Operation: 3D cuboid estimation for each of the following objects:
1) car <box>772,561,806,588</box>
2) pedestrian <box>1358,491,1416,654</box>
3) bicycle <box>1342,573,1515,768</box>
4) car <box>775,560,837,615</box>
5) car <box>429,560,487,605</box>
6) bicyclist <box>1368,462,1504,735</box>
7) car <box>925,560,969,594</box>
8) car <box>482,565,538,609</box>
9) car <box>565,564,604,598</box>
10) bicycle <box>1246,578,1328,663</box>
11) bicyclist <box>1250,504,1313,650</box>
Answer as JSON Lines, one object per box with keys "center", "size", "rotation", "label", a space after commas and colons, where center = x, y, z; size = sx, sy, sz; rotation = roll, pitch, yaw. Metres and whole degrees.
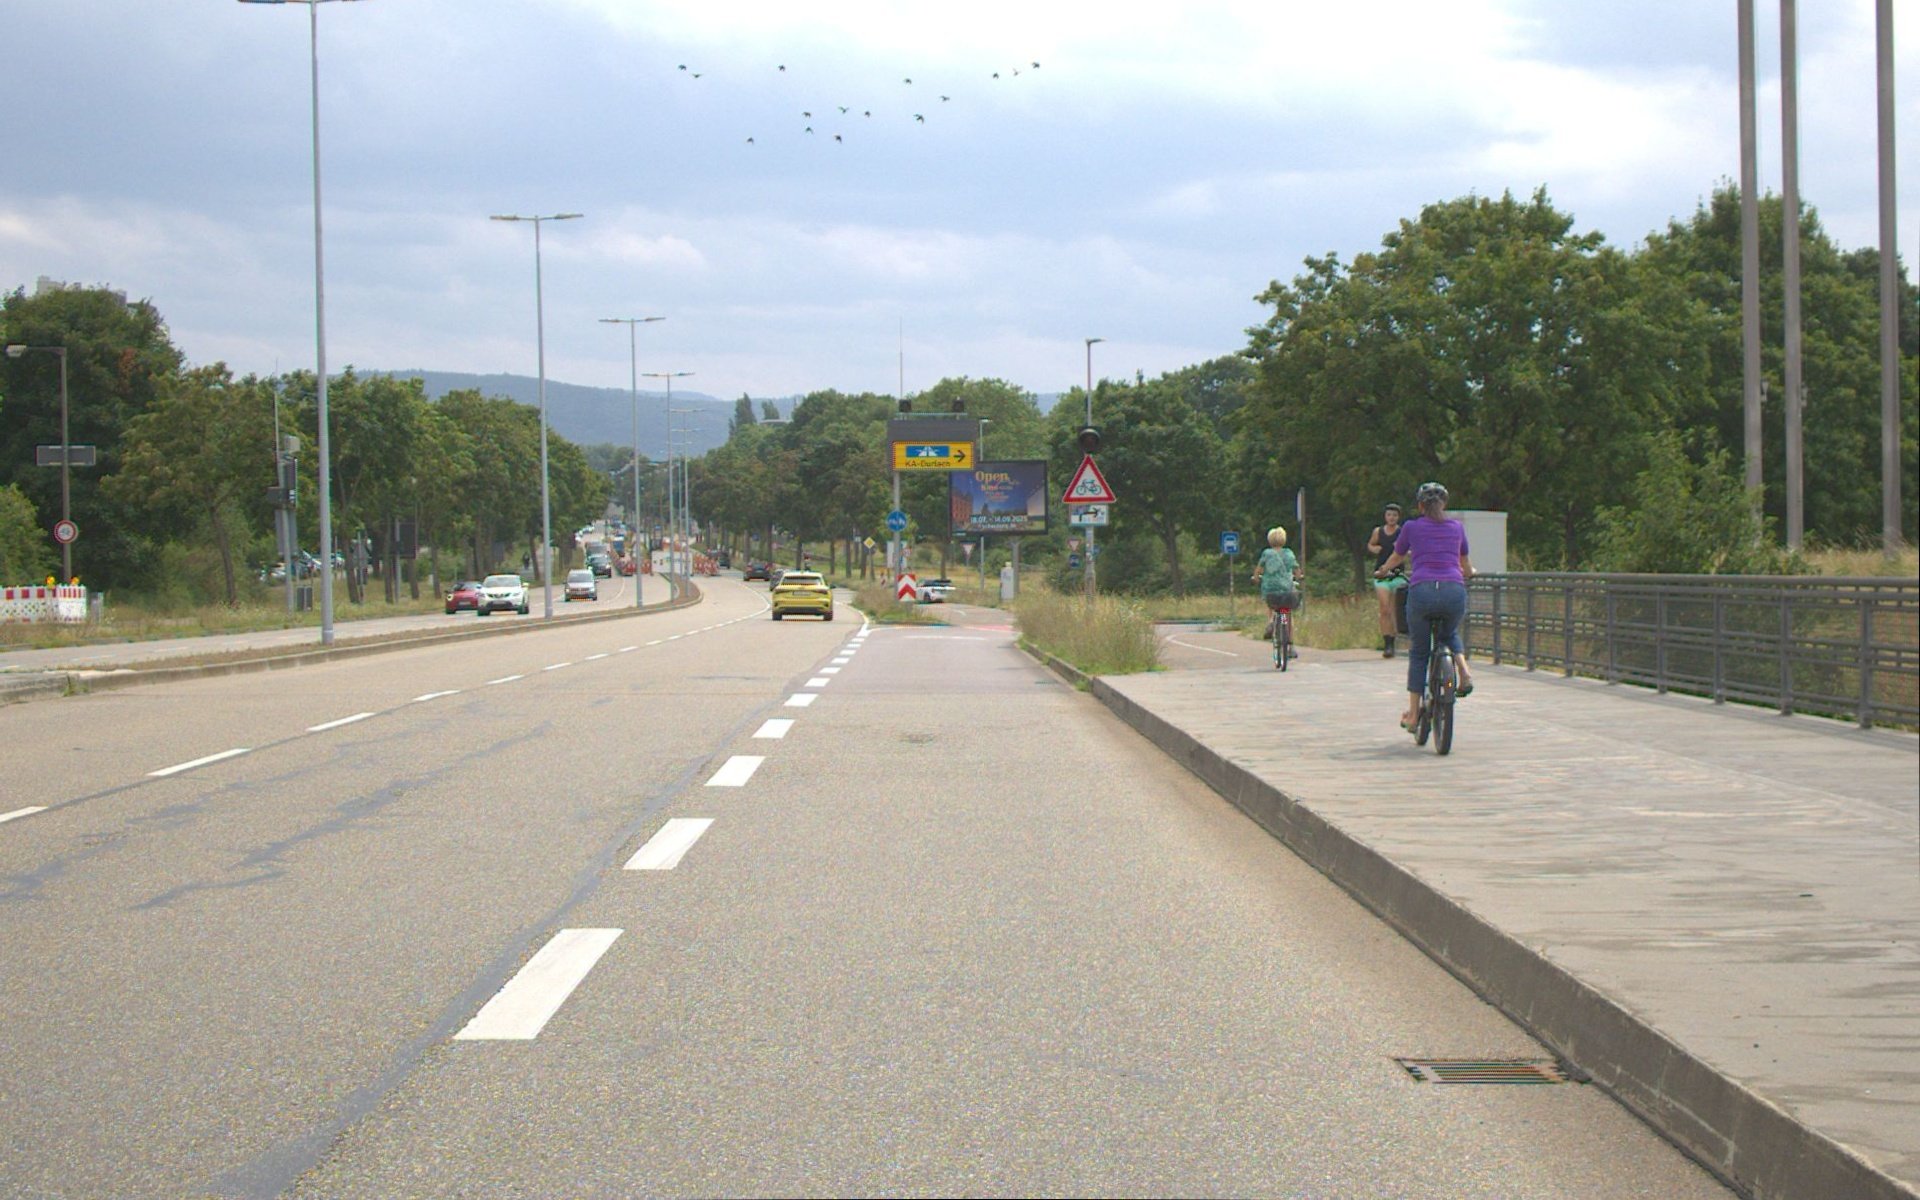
{"center": [-11.208, -1.685, 225.830], "size": [2.206, 1.678, 4.001], "rotation": [0, 2, -3], "label": "car"}
{"center": [5.318, -0.349, 42.818], "size": [0.627, 2.006, 0.668], "rotation": [0, 2, -1], "label": "pedestrian"}
{"center": [3.096, 0.434, 22.930], "size": [0.693, 1.188, 2.461], "rotation": [-1, 1, -3], "label": "bicycle"}
{"center": [-4.638, -0.391, 103.110], "size": [1.793, 1.556, 4.001], "rotation": [0, 2, -4], "label": "car"}
{"center": [-22.606, -0.778, 154.956], "size": [1.993, 1.875, 4.000], "rotation": [4, 0, -1], "label": "car"}
{"center": [3.112, -0.022, 22.550], "size": [0.703, 1.749, 0.991], "rotation": [0, 1, -3], "label": "bicyclist"}
{"center": [-0.666, -1.186, 176.679], "size": [2.013, 1.665, 4.001], "rotation": [0, 2, -4], "label": "car"}
{"center": [-17.772, -0.518, 135.839], "size": [1.694, 1.623, 4.384], "rotation": [0, 2, -1], "label": "car"}
{"center": [-21.406, -1.111, 196.223], "size": [1.902, 1.803, 4.540], "rotation": [0, 2, -2], "label": "car"}
{"center": [3.708, 0.221, 39.136], "size": [0.623, 0.885, 2.155], "rotation": [0, 2, -3], "label": "bicycle"}
{"center": [3.691, -0.270, 39.544], "size": [0.621, 1.660, 0.669], "rotation": [0, 2, -3], "label": "bicyclist"}
